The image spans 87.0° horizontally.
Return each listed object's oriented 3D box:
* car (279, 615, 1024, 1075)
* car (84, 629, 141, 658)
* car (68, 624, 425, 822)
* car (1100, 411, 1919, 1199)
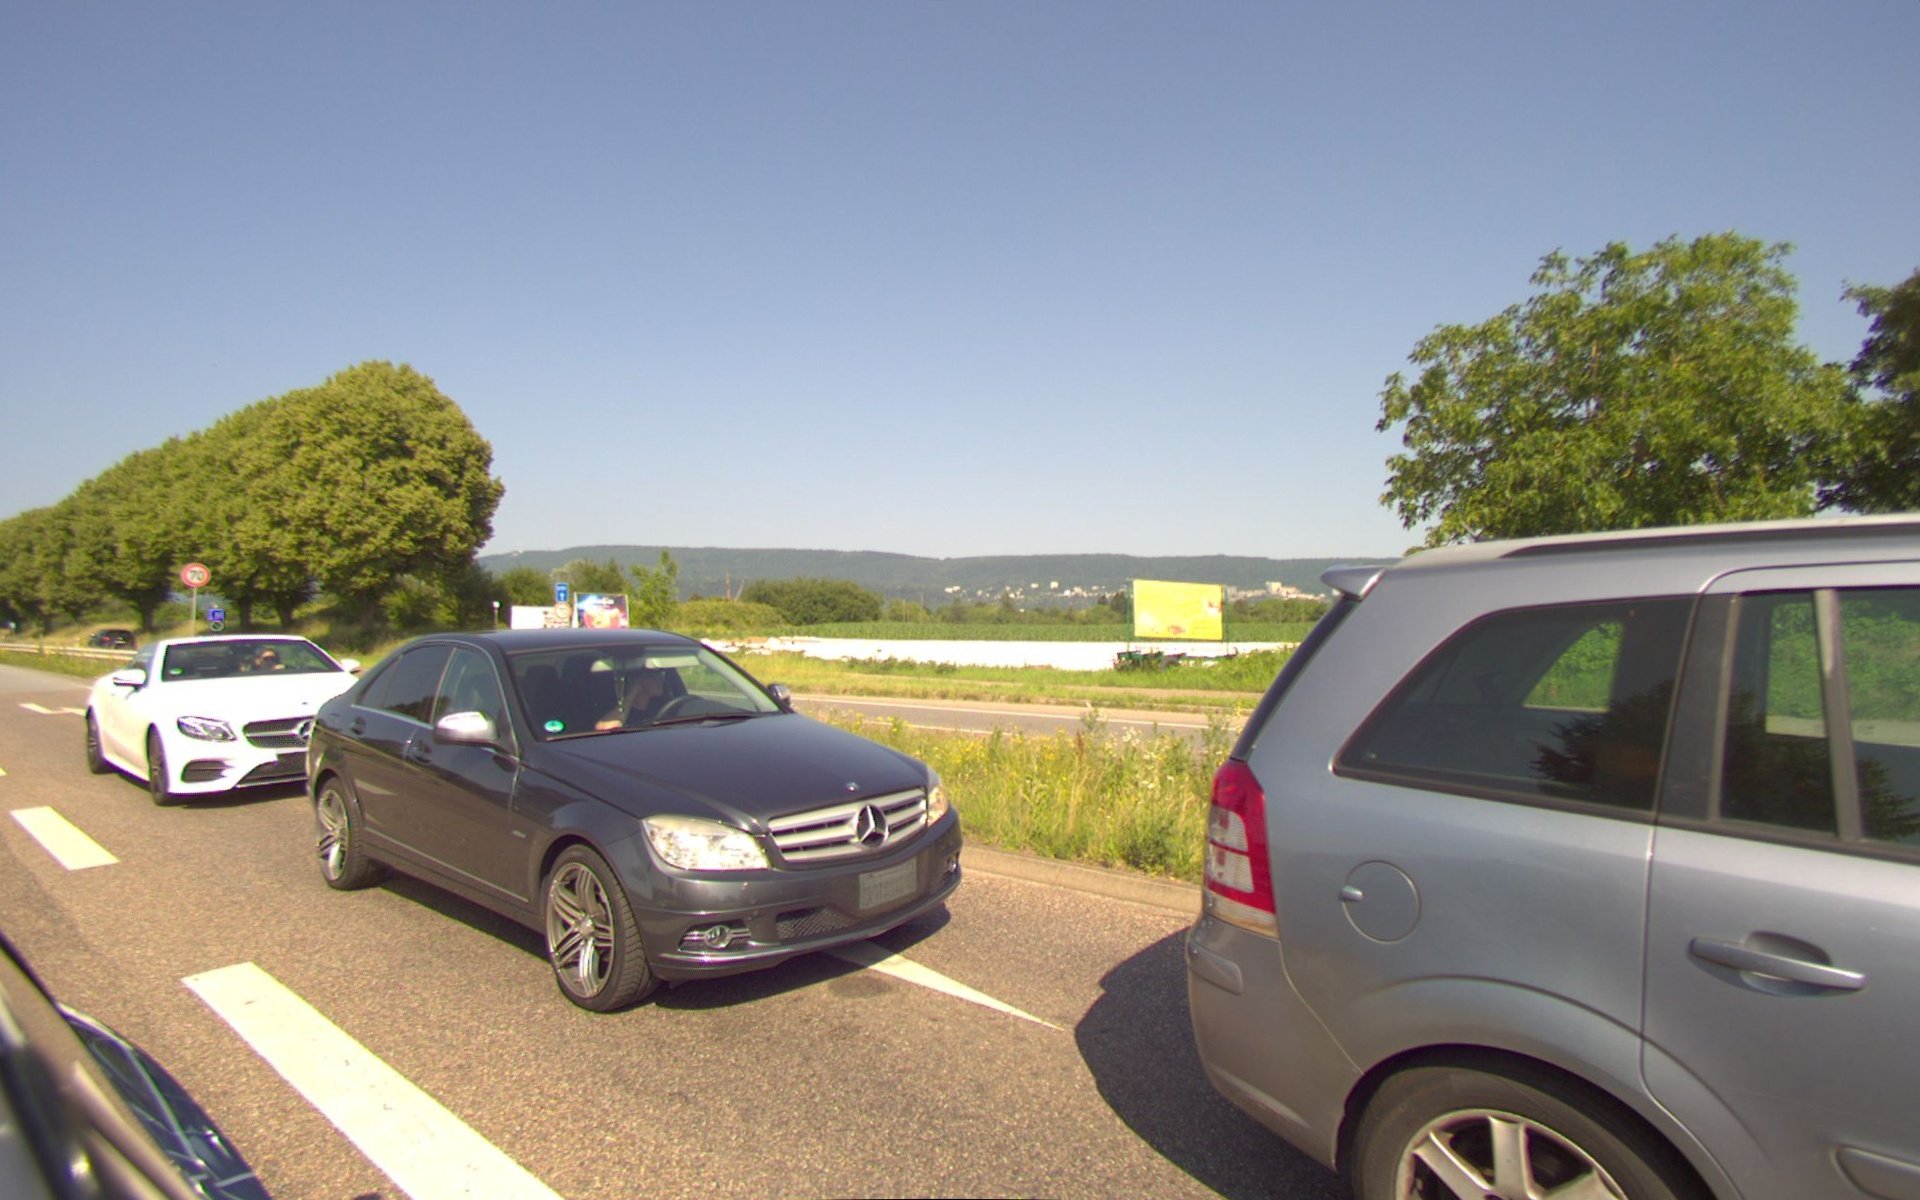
[{"bbox_3d":[-1.910,0.827,5.271,4.353,1.421,1.696,-2,-1,42],"label":"car"},{"bbox_3d":[-55.577,2.867,66.344,4.950,1.855,1.973,-2,-4,40],"label":"car"},{"bbox_3d":[-7.032,0.985,9.756,4.639,1.436,1.784,-2,-1,41],"label":"car"},{"bbox_3d":[2.530,0.549,1.530,4.355,1.685,1.723,-2,-1,42],"label":"car"}]
